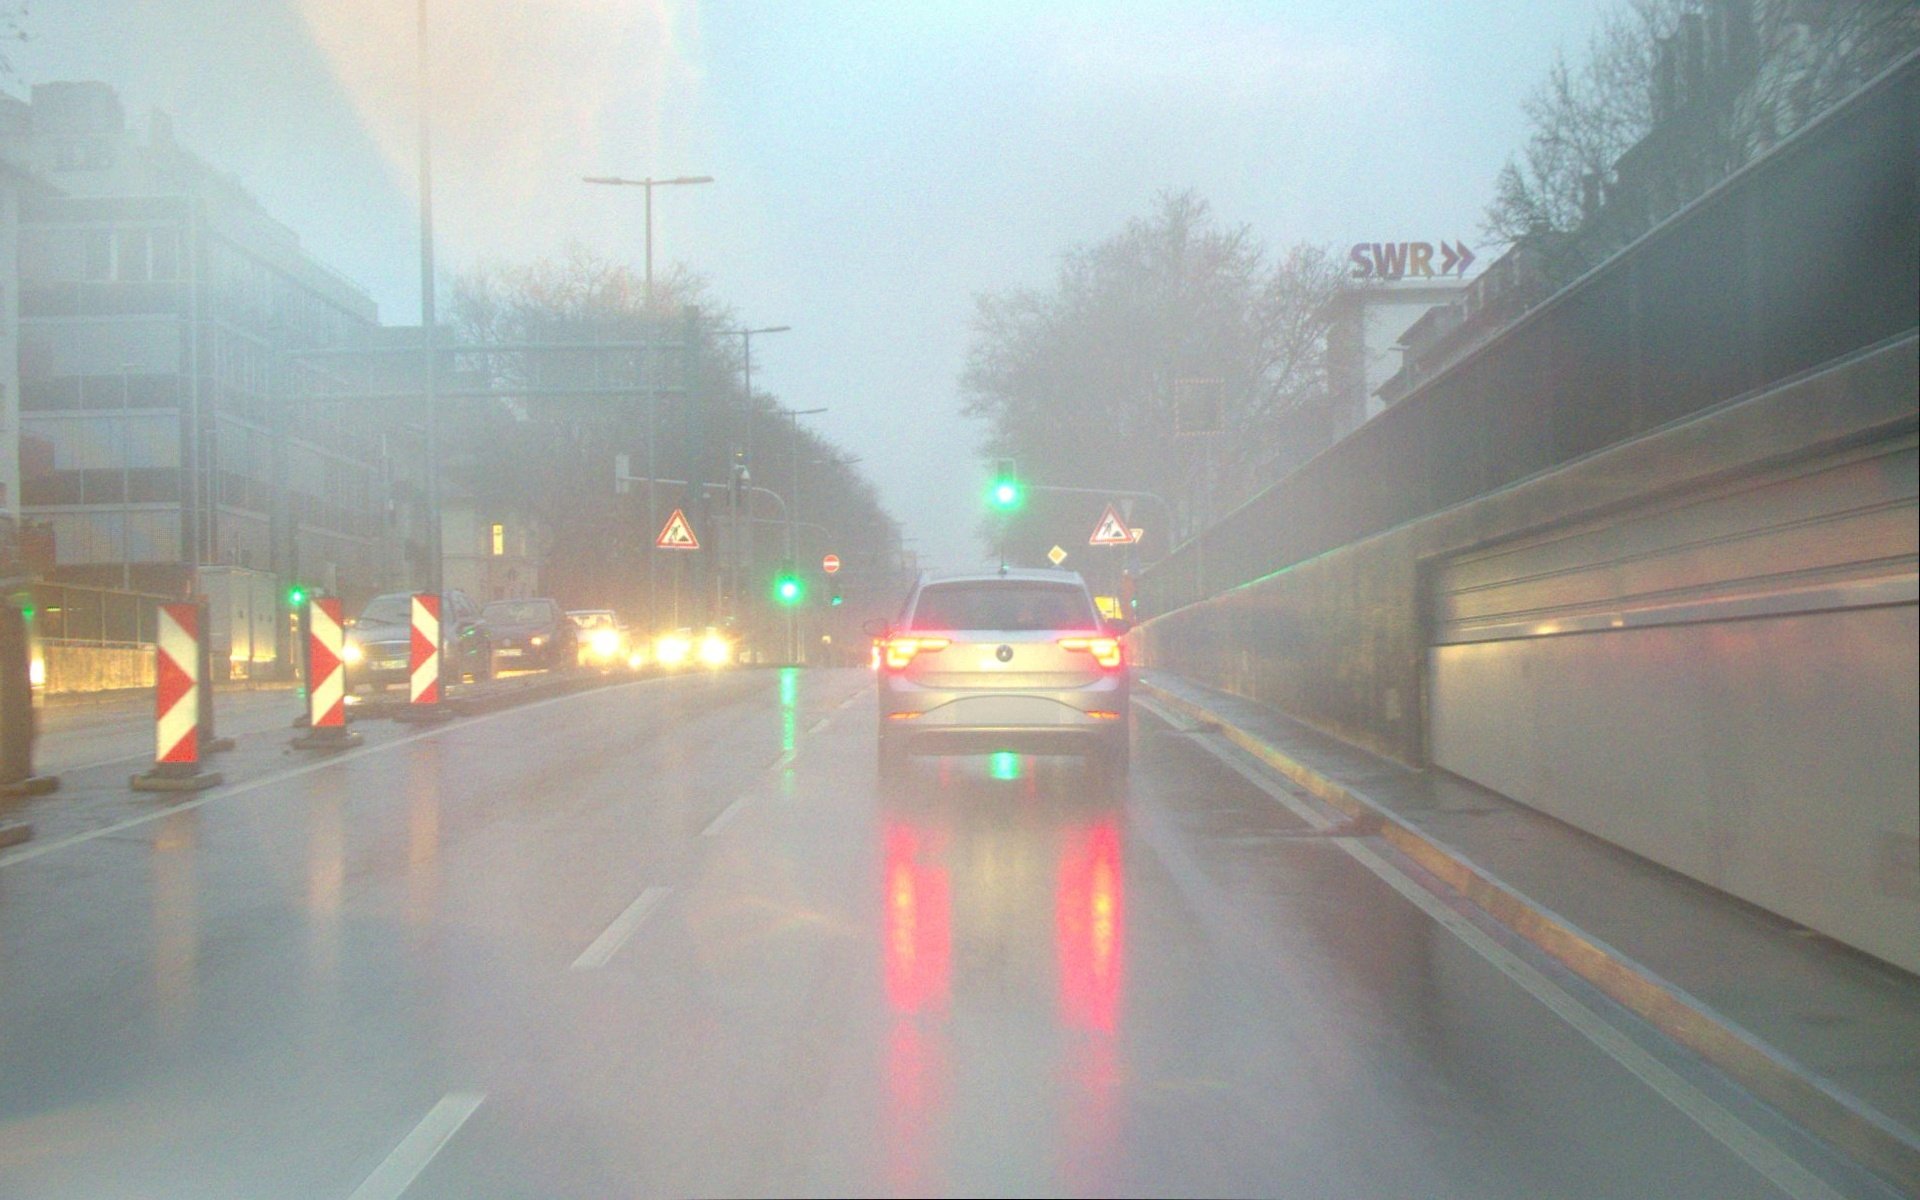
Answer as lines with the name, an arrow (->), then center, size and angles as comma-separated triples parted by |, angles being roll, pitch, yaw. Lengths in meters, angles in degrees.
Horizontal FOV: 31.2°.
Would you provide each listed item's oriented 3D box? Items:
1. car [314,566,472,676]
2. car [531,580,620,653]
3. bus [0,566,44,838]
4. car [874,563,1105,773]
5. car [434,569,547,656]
car -> -8.161, 0.275, 49.740 | 1.608, 1.378, 3.695 | -3, 2, 0
car -> -8.200, 0.341, 73.544 | 1.496, 1.378, 3.434 | -3, 2, -1
bus -> -7.824, 0.816, 23.369 | 1.674, 1.959, 5.175 | -4, 1, 0
car -> 0.204, 0.473, 24.569 | 1.532, 1.392, 3.433 | 0, -1, 0
car -> -8.464, 0.207, 62.159 | 1.496, 1.378, 3.434 | -3, 2, 0
